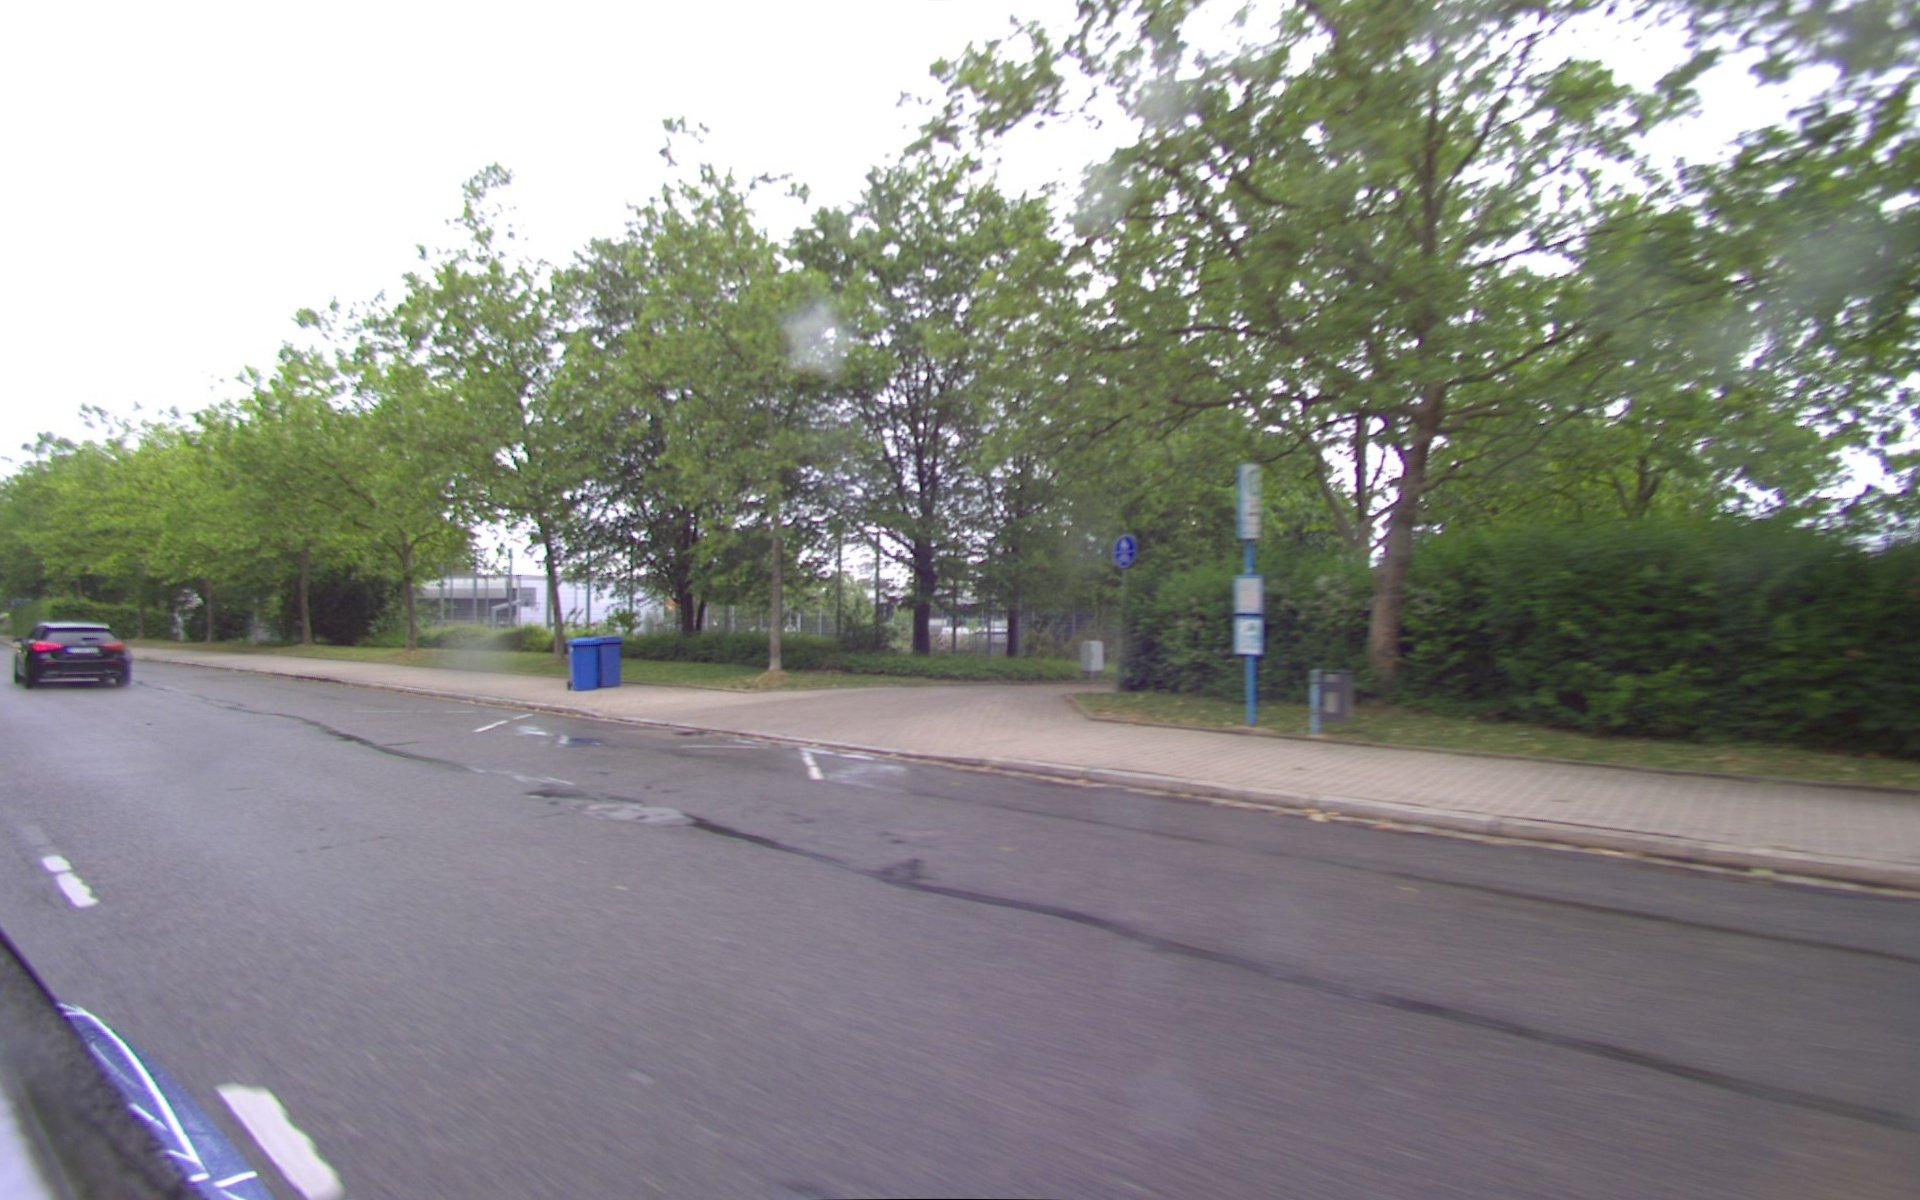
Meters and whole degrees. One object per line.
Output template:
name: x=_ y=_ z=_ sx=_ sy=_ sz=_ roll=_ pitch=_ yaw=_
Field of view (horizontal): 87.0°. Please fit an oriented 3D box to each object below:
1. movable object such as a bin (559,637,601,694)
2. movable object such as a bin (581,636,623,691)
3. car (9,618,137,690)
movable object such as a bin: x=-7.841 y=1.342 z=20.868 sx=0.672 sy=1.107 sz=0.560 roll=-1 pitch=1 yaw=45
movable object such as a bin: x=-7.590 y=1.340 z=21.455 sx=0.672 sy=1.107 sz=0.560 roll=-1 pitch=1 yaw=45
car: x=-20.070 y=1.167 z=22.846 sx=4.001 sy=1.476 sz=1.806 roll=-1 pitch=-3 yaw=44
